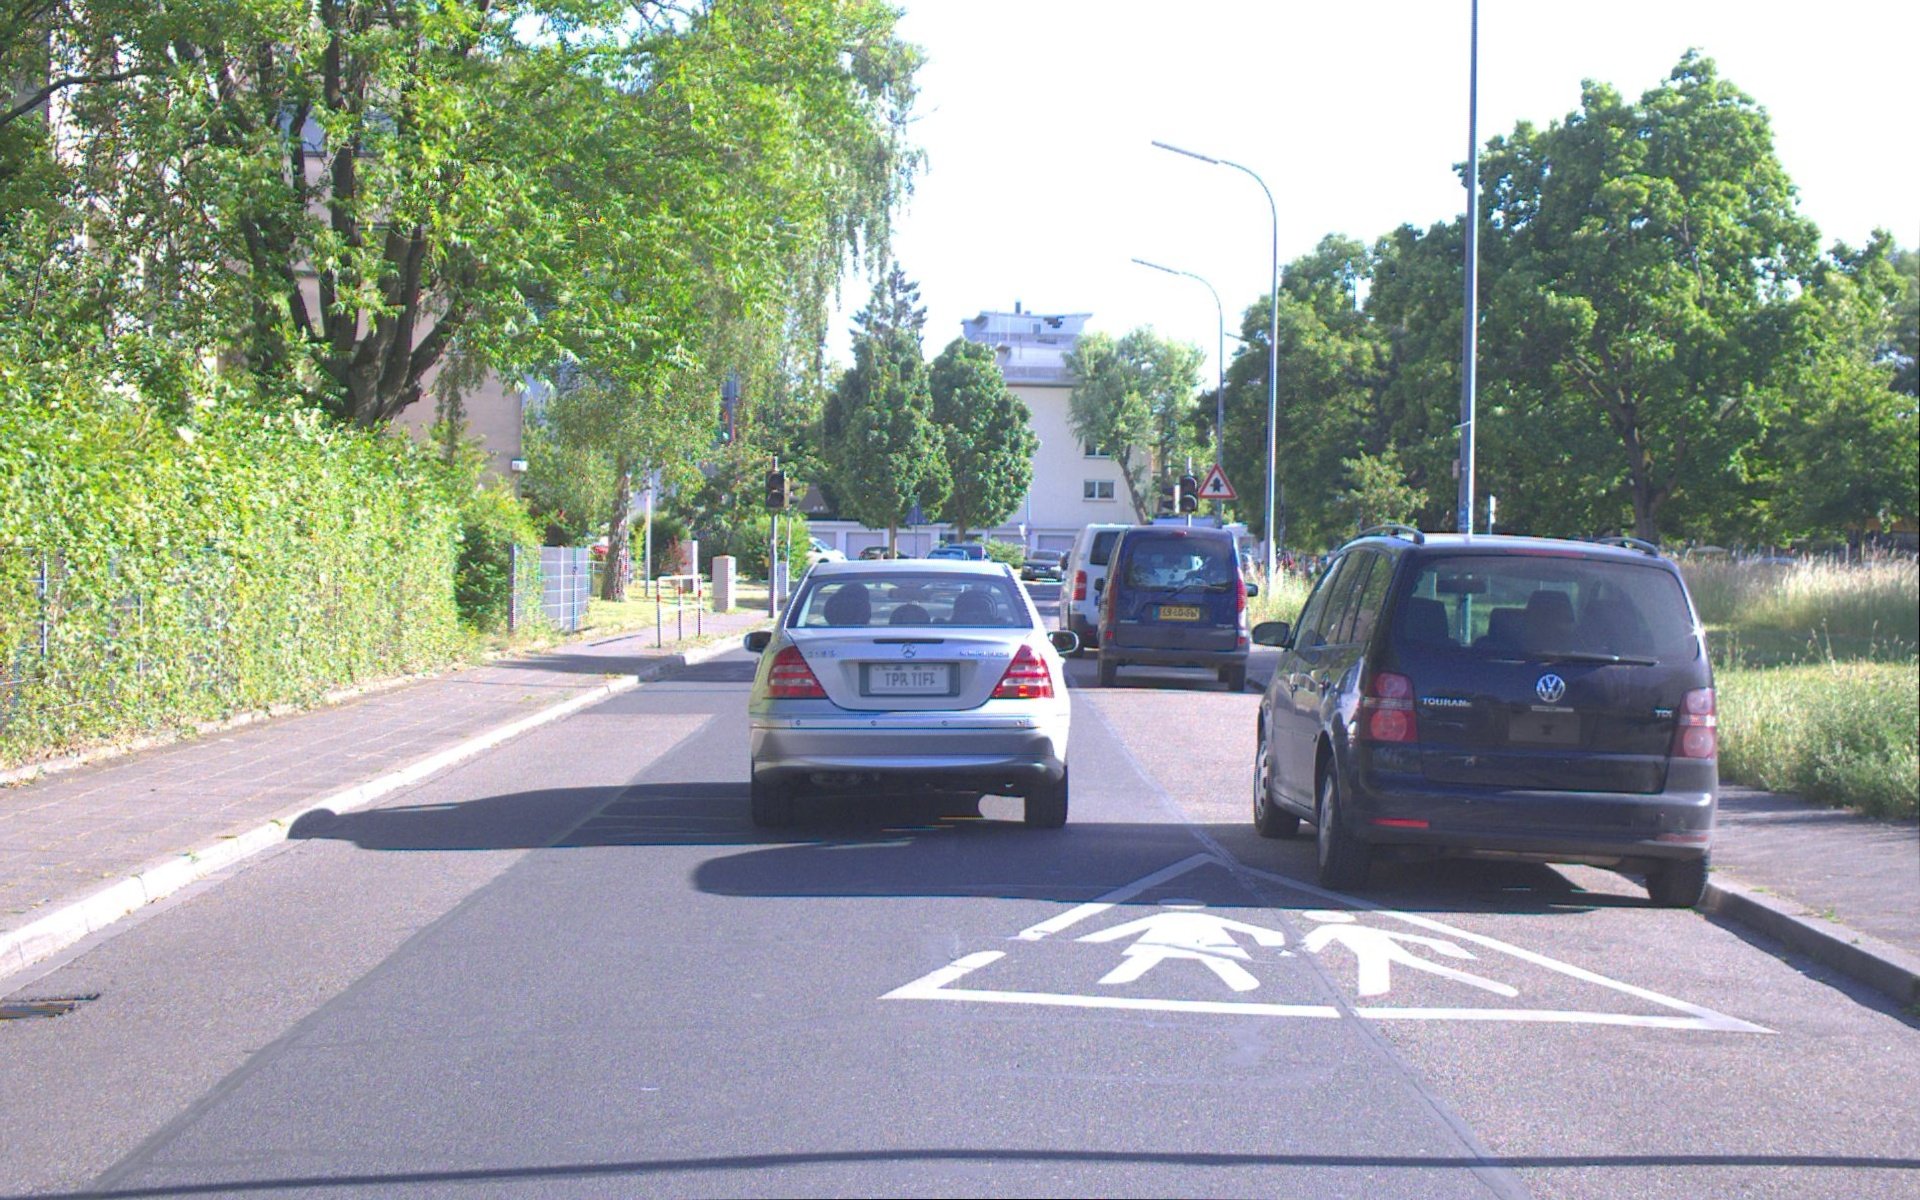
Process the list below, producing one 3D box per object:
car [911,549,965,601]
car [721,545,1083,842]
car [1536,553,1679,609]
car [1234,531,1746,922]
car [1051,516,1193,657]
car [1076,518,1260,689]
[{"bbox_3d":[-0.814,-0.878,123.892,1.884,1.722,4.000,1,-1,-1],"label":"car"},{"bbox_3d":[-0.276,0.435,19.445,1.816,1.458,4.361,0,1,0],"label":"car"},{"bbox_3d":[17.831,-0.515,94.632,3.705,1.466,1.698,1,-1,15],"label":"car"},{"bbox_3d":[2.423,0.504,16.691,1.698,1.605,4.001,2,1,-2],"label":"car"},{"bbox_3d":[2.270,-0.223,49.060,1.698,1.845,3.851,3,1,-1],"label":"car"},{"bbox_3d":[2.297,-0.004,38.836,1.698,1.753,3.851,3,1,-1],"label":"car"}]
